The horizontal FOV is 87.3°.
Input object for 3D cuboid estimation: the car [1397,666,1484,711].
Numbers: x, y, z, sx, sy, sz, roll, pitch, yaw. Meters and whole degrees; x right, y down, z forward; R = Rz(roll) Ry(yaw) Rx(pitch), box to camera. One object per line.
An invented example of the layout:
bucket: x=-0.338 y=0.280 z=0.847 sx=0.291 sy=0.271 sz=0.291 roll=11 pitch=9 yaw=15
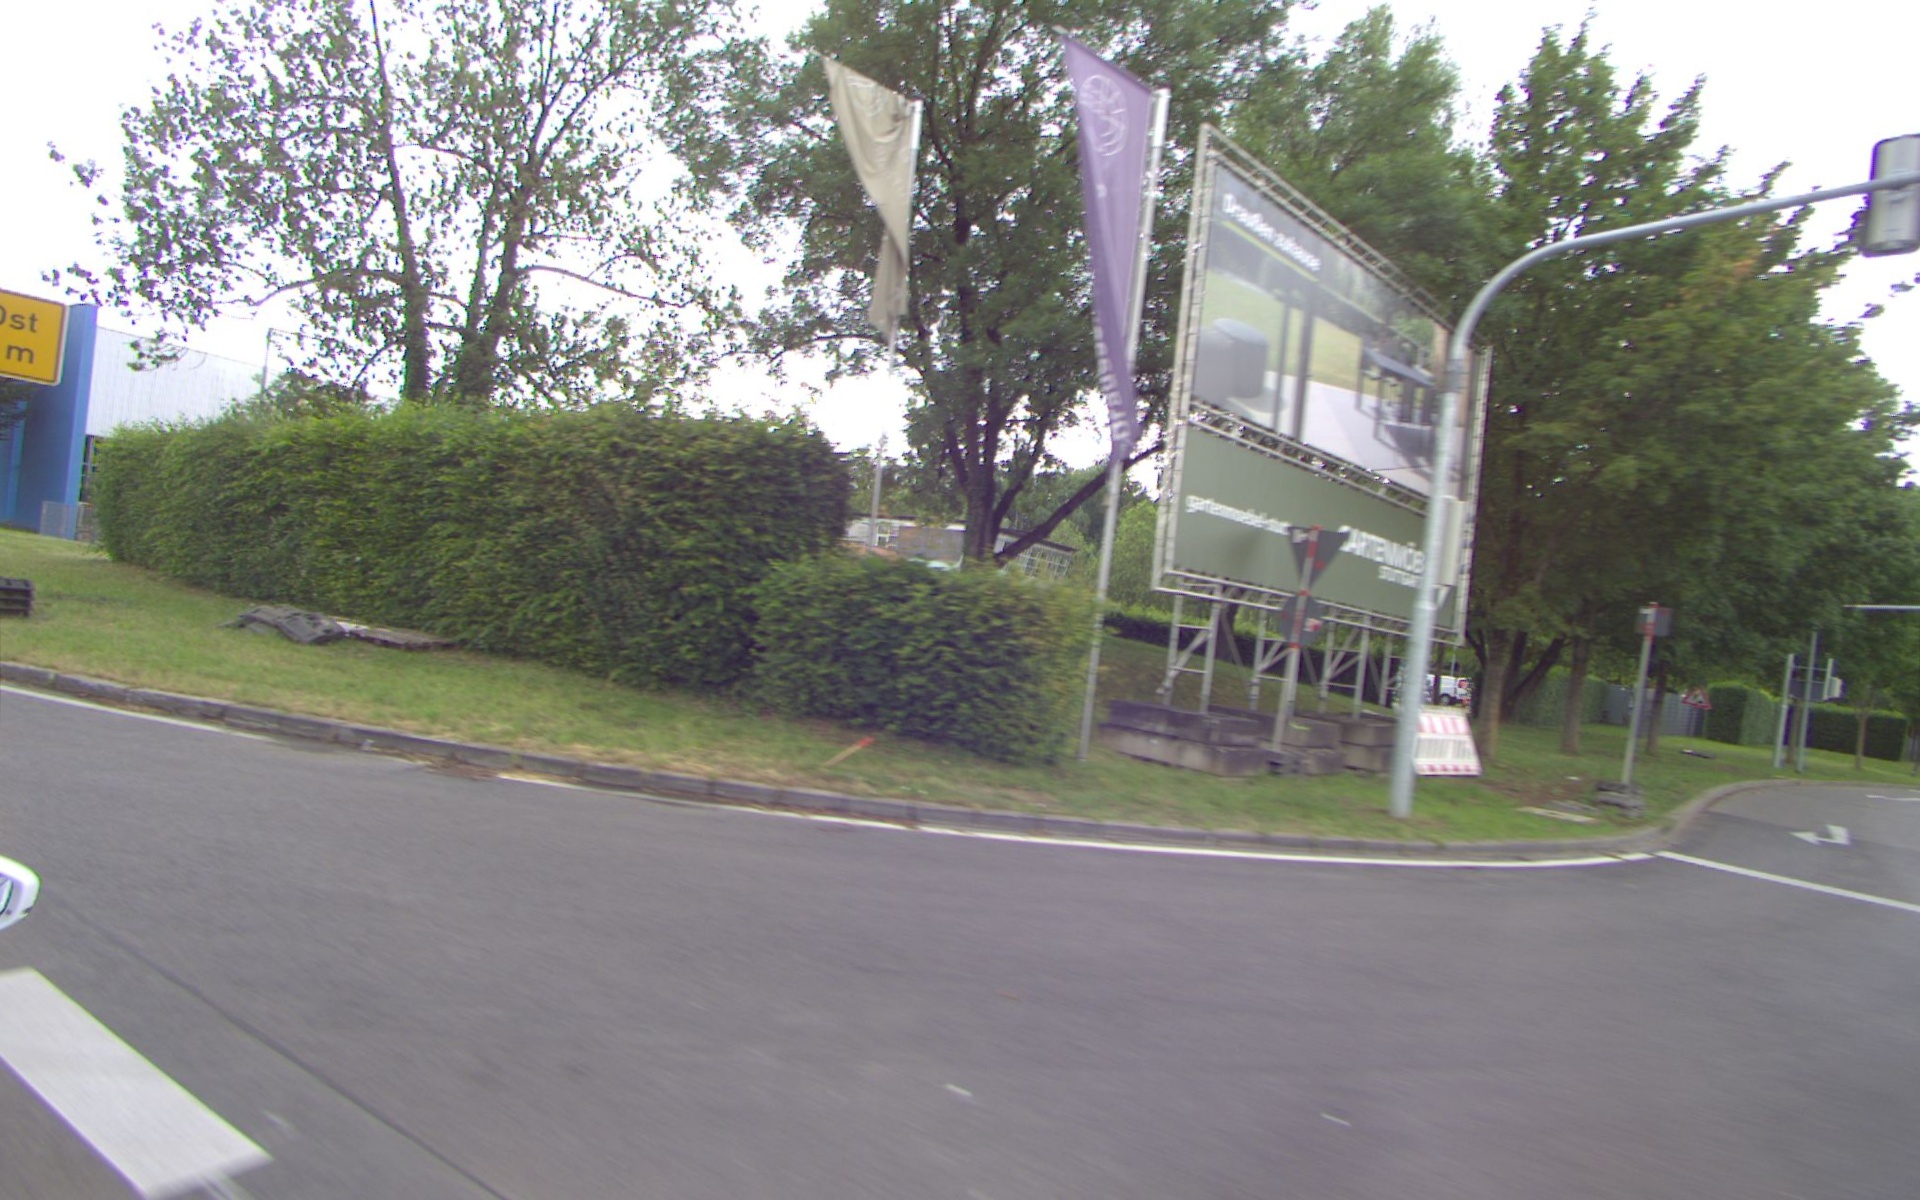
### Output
car: x=30.597 y=5.626 z=64.126 sx=4.462 sy=2.141 sz=2.128 roll=7 pitch=-2 yaw=39
